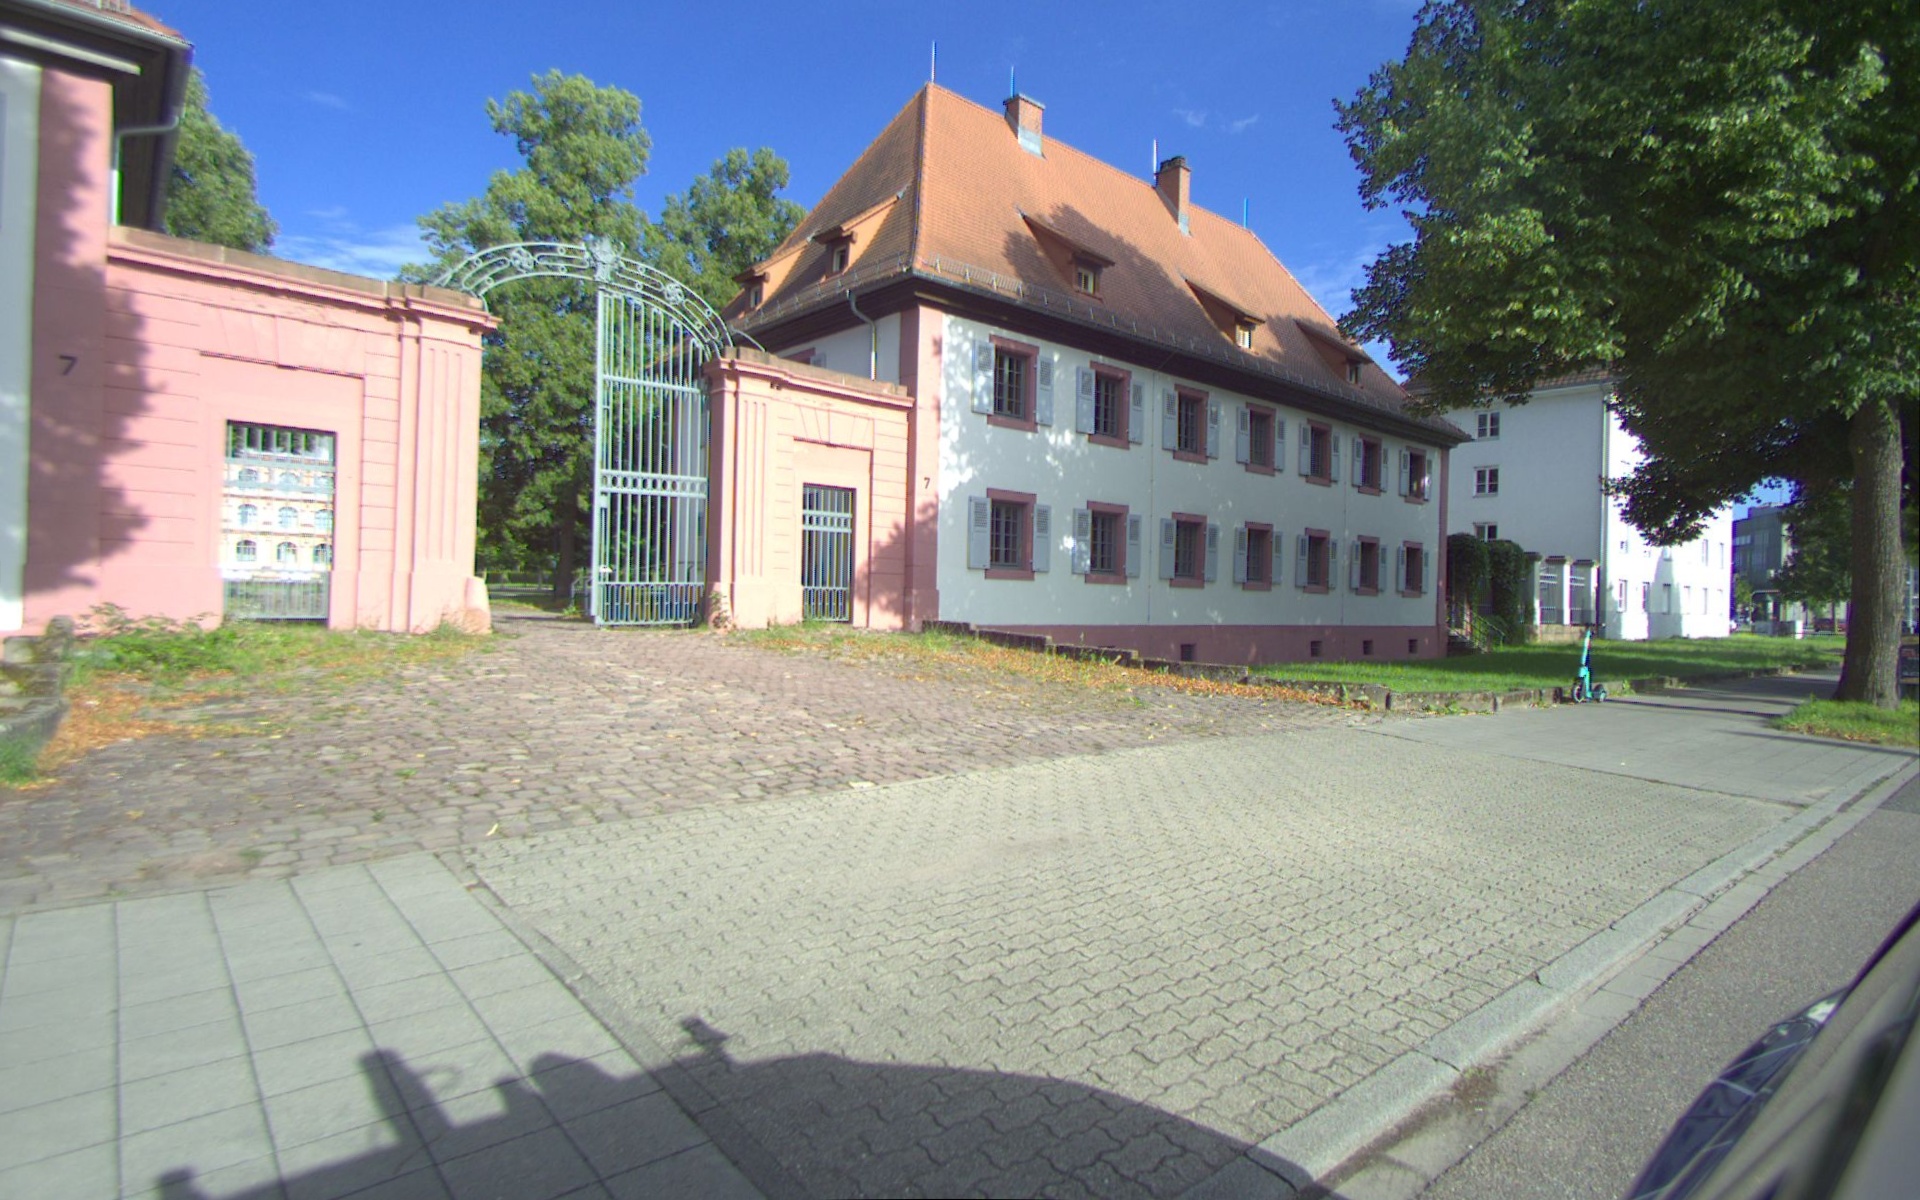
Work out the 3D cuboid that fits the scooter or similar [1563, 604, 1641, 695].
[{"bbox_3d":[9.910,0.743,15.615,1.357,1.307,0.580,1,2,-40],"label":"scooter or similar"}]
